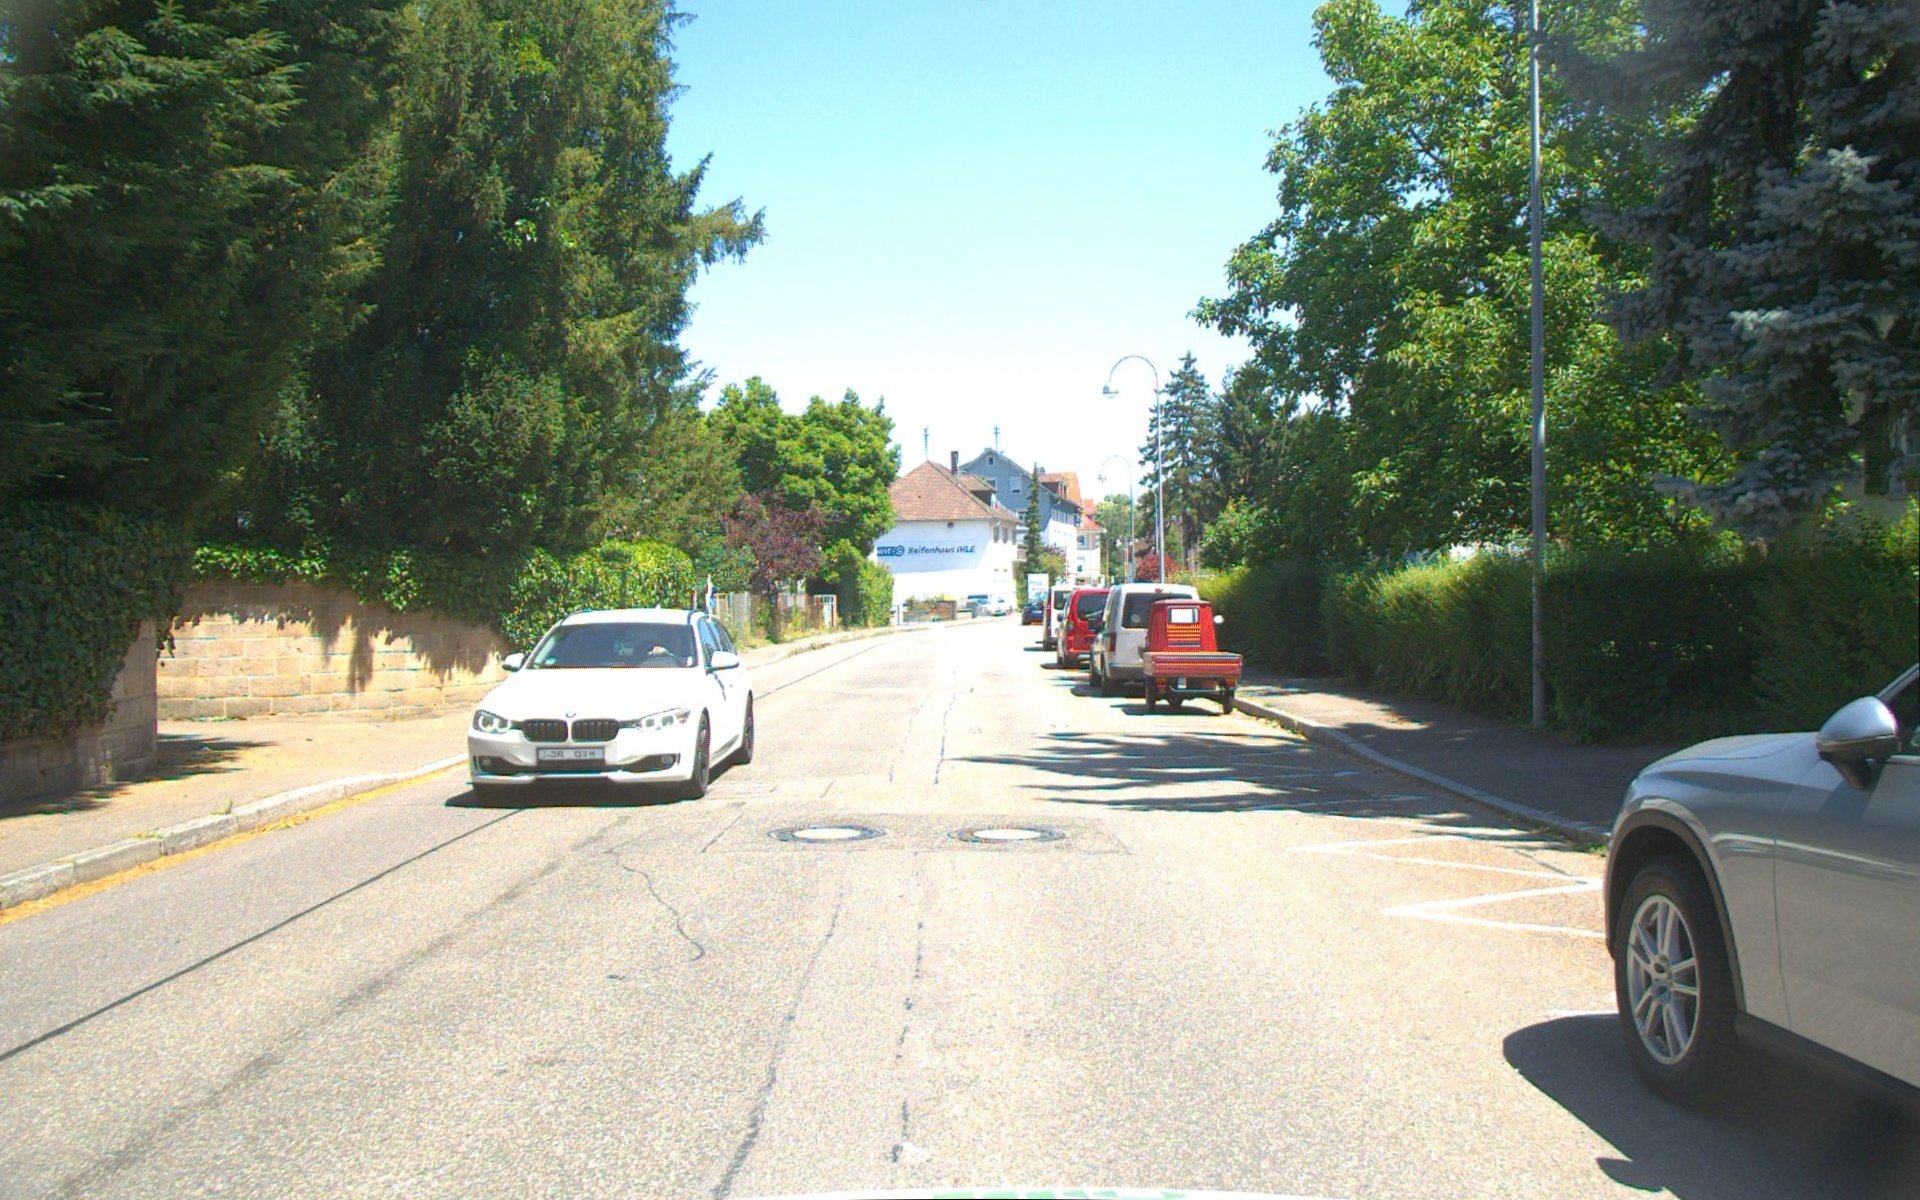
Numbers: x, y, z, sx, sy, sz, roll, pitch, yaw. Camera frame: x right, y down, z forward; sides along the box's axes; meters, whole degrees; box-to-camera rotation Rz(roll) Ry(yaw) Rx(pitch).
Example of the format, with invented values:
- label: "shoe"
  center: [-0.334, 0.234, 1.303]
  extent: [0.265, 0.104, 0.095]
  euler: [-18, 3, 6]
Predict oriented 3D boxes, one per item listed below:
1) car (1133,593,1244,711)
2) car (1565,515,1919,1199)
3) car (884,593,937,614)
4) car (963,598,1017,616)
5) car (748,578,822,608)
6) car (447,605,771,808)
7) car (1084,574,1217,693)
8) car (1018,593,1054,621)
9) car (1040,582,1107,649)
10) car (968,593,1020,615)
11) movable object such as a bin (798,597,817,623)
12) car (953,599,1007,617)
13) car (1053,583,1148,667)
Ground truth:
- label: "car"
  center: [3.166, 0.691, 23.221]
  extent: [1.234, 1.521, 2.709]
  euler: [1, 0, 2]
- label: "car"
  center: [3.075, 0.660, 3.529]
  extent: [1.736, 1.660, 4.603]
  euler: [1, 0, -2]
- label: "car"
  center: [-3.728, 0.244, 123.609]
  extent: [1.786, 1.536, 3.935]
  euler: [-1, 1, -44]
- label: "car"
  center: [2.380, 0.546, 131.336]
  extent: [4.040, 1.419, 1.830]
  euler: [0, 0, 9]
- label: "car"
  center: [-9.642, -0.374, 91.335]
  extent: [3.907, 1.537, 1.799]
  euler: [1, 0, -2]
- label: "car"
  center: [-2.820, 0.783, 14.373]
  extent: [1.826, 1.407, 4.604]
  euler: [-1, 0, 0]
- label: "car"
  center: [3.128, 0.519, 27.973]
  extent: [1.710, 1.813, 4.543]
  euler: [1, 0, 0]
- label: "car"
  center: [4.441, 0.405, 96.320]
  extent: [1.756, 1.537, 4.003]
  euler: [2, 0, 7]
- label: "car"
  center: [3.480, 0.452, 51.288]
  extent: [1.863, 1.958, 4.719]
  euler: [0, 0, 1]
- label: "car"
  center: [2.789, 0.321, 133.996]
  extent: [4.041, 1.805, 1.830]
  euler: [0, 0, 6]
- label: "movable object such as a bin"
  center: [-5.969, 0.377, 64.860]
  extent: [0.693, 1.014, 0.474]
  euler: [0, 0, 0]
- label: "car"
  center: [1.552, 0.607, 128.469]
  extent: [4.071, 1.367, 1.898]
  euler: [0, 1, 44]
- label: "car"
  center: [3.148, 0.555, 37.864]
  extent: [1.863, 1.758, 4.392]
  euler: [2, 0, 1]
